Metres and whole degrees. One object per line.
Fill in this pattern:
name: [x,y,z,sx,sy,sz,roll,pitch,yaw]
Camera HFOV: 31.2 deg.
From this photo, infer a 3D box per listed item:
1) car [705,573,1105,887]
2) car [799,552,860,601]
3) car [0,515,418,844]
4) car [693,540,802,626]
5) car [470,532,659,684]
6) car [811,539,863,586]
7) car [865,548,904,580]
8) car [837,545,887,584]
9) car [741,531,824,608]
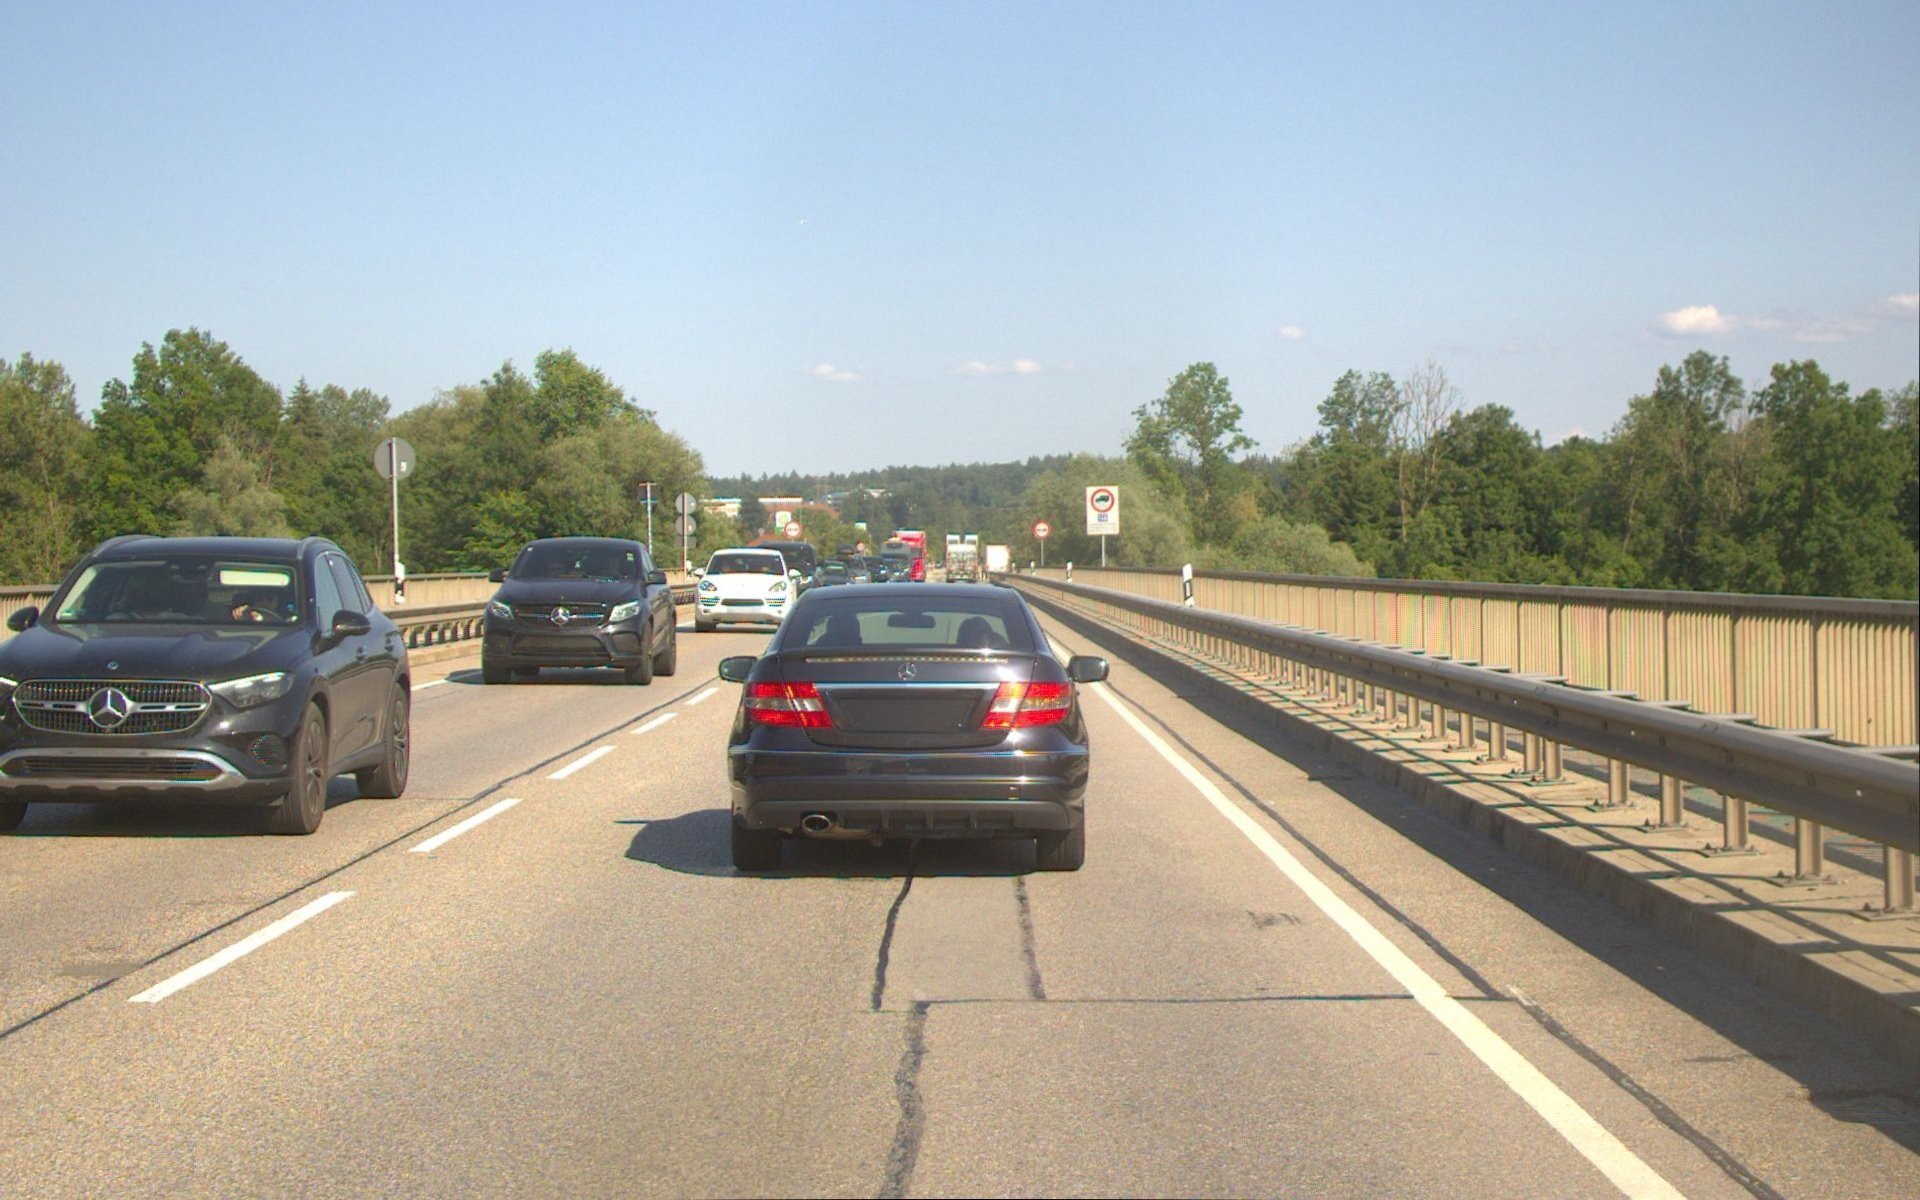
car: [-0.241,0.572,17.551,1.793,1.371,4.000,1,1,0]
car: [-4.016,-0.750,105.391,1.765,1.442,4.457,1,1,-3]
car: [-4.367,0.370,19.763,1.802,1.655,4.433,1,1,0]
car: [-4.257,-0.366,69.528,1.983,1.645,4.598,1,1,-1]
car: [-4.664,0.058,41.082,1.949,1.688,4.477,1,1,-3]
car: [-4.648,-1.430,130.369,1.854,1.716,4.566,1,1,-1]
car: [-3.787,-1.802,172.399,1.806,1.572,4.201,1,1,-3]
car: [-4.475,-1.624,156.397,2.053,1.647,4.722,2,1,-3]
car: [-4.552,-0.796,87.926,2.037,1.867,5.070,1,1,-3]
